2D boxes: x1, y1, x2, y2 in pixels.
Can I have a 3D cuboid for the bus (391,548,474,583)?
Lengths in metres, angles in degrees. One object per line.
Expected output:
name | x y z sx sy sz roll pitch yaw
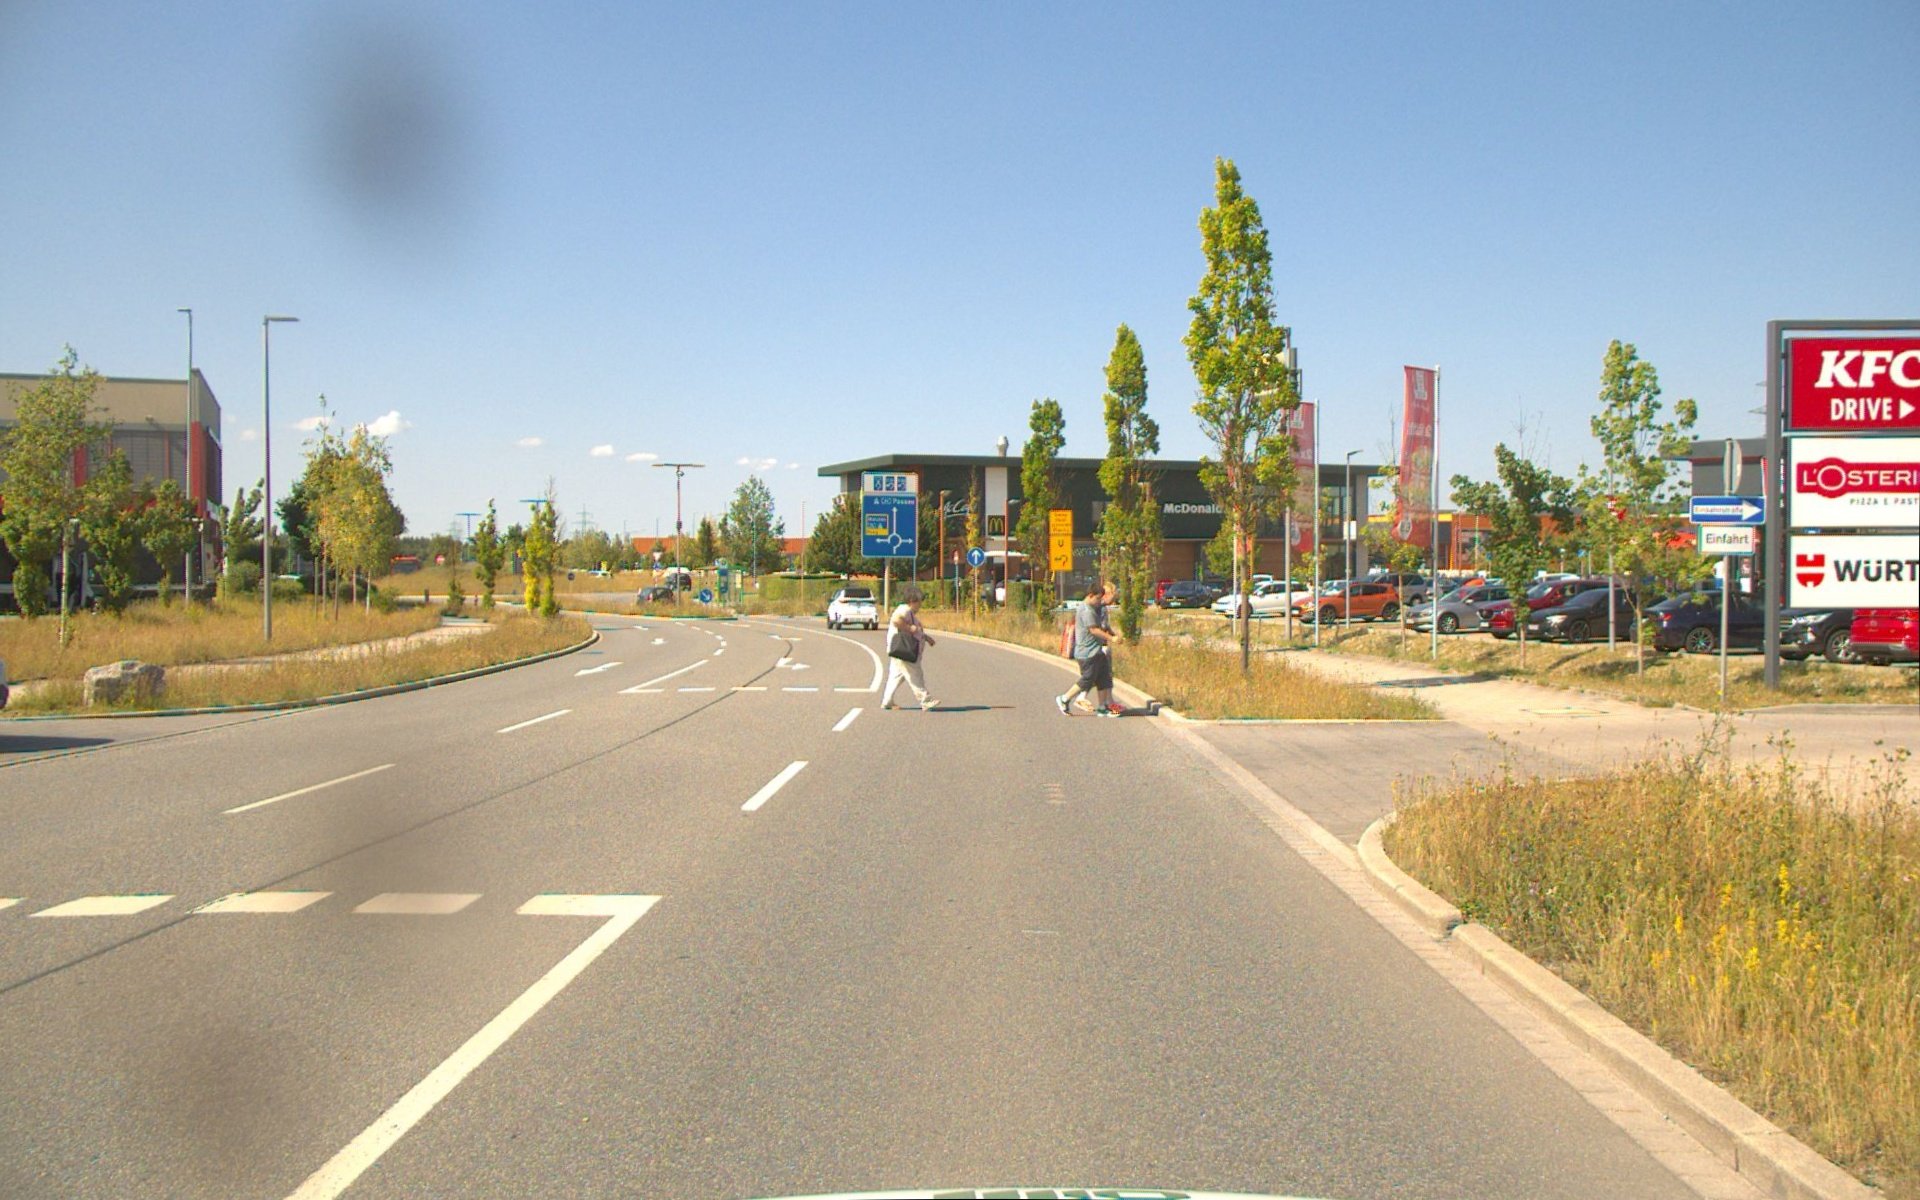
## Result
bus | -52.511 -3.507 165.194 2.727 3.132 12.217 0 3 9

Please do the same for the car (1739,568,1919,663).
car | 18.182 0.274 33.174 4.319 1.765 1.790 -1 1 -5

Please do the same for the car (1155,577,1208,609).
car | 10.728 -0.340 80.023 1.662 1.487 4.170 0 1 20

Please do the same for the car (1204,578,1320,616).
car | 12.717 -0.140 69.673 4.451 1.516 1.861 -1 1 -16

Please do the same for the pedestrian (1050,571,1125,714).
pedestrian | 1.510 0.494 19.685 0.792 1.657 0.866 0 0 -1

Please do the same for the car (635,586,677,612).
car | -17.572 -0.084 95.467 1.595 1.459 3.764 0 1 -24

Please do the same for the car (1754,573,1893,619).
car | 29.813 -0.162 57.103 4.494 1.456 1.856 -2 1 -23

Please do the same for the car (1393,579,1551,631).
car | 16.261 0.130 52.569 4.475 1.516 1.863 -1 1 -12

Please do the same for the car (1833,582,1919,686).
car | 18.493 0.556 30.475 4.339 1.765 1.782 -1 1 -19

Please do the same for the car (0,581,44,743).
car | -11.448 0.610 16.005 4.123 1.574 1.919 0 0 4

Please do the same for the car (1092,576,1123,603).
car | 9.323 -0.672 104.272 1.754 1.632 4.004 -1 1 8

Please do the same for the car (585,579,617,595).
car | -34.250 -1.220 157.749 1.970 1.489 3.965 -1 1 -27

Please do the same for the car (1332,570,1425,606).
car | 20.000 -0.603 78.979 4.100 1.664 1.778 -1 1 -24

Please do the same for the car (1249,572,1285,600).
car | 20.058 -0.933 107.980 1.755 1.731 4.002 0 1 19

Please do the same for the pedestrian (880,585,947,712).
pedestrian | -0.555 0.570 20.044 0.776 1.495 0.949 0 0 -1

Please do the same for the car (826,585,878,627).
car | -3.910 0.201 59.556 1.586 1.459 3.785 0 1 -9

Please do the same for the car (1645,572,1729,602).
car | 38.881 -0.705 88.533 4.073 1.549 1.790 0 1 25

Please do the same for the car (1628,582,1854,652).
car | 17.749 0.367 37.755 4.312 1.474 1.793 -1 1 6

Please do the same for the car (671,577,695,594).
car | -24.275 -1.260 144.790 1.958 1.465 3.989 -1 1 -12

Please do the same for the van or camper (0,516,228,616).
van or camper | -31.134 -1.221 60.621 7.570 3.529 2.544 0 0 -17

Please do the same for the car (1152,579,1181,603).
car | 13.145 -0.602 105.117 1.754 1.459 4.004 -1 1 8

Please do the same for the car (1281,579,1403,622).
car | 14.398 -0.010 62.368 4.135 1.516 1.861 -1 1 -16

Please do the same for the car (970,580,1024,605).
car | 2.195 -0.449 98.693 1.768 1.459 3.973 -1 1 -22

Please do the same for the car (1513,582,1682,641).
car | 17.527 0.286 45.536 4.084 1.474 1.785 -1 1 -14

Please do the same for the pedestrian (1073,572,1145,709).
pedestrian | 1.824 0.486 20.382 0.784 1.658 0.804 0 0 -1

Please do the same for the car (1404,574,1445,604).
car | 24.062 -0.575 85.596 1.748 1.476 4.170 0 1 20

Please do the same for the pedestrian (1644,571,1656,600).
pedestrian | 30.741 -0.646 73.686 0.374 1.262 0.290 -1 0 -24

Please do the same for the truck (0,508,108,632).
truck | -28.241 -0.849 47.753 2.267 3.525 7.501 0 1 11

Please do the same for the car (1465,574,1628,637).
car | 17.009 0.127 48.036 4.076 1.694 1.866 -1 1 -8

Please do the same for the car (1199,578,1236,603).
car | 16.558 -0.642 106.217 1.755 1.539 4.002 0 1 18
